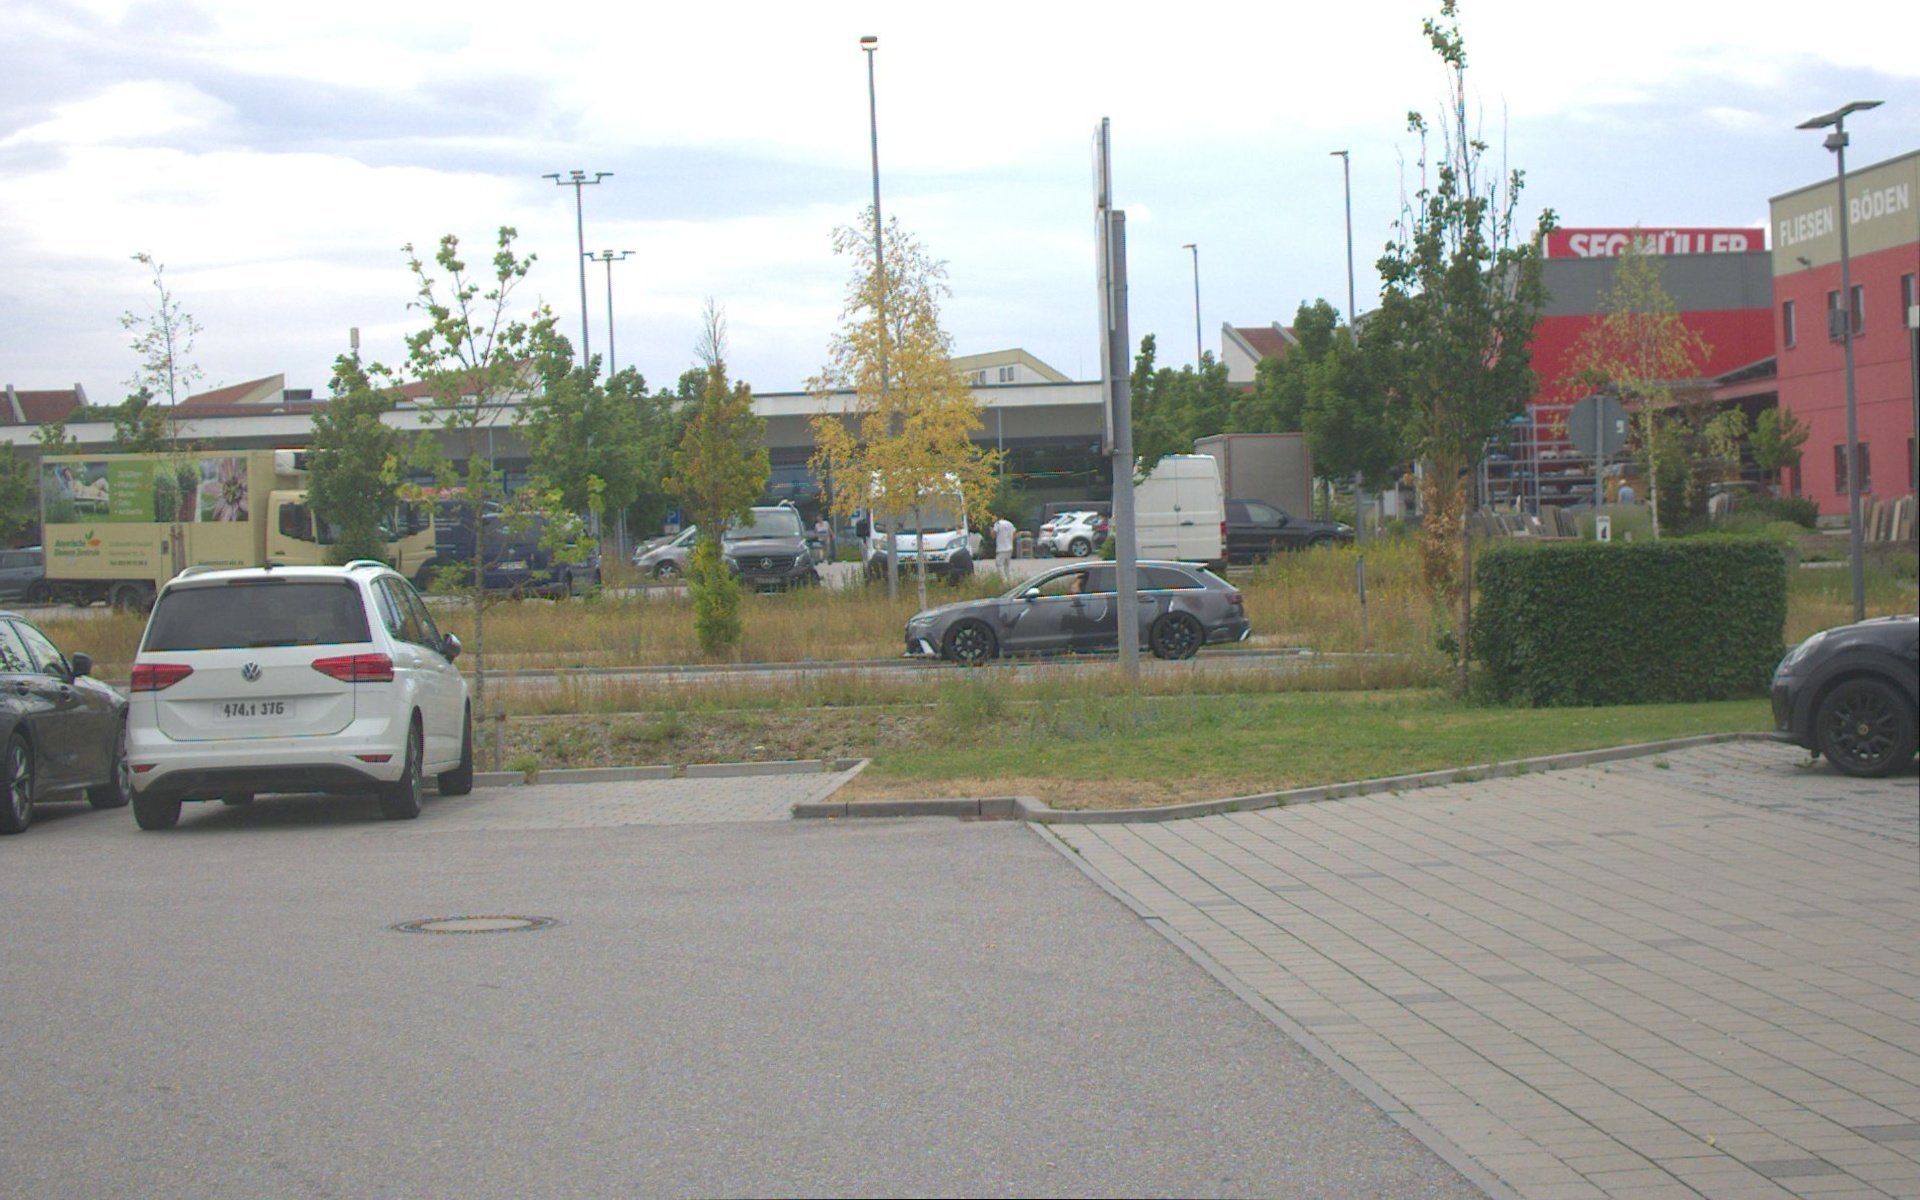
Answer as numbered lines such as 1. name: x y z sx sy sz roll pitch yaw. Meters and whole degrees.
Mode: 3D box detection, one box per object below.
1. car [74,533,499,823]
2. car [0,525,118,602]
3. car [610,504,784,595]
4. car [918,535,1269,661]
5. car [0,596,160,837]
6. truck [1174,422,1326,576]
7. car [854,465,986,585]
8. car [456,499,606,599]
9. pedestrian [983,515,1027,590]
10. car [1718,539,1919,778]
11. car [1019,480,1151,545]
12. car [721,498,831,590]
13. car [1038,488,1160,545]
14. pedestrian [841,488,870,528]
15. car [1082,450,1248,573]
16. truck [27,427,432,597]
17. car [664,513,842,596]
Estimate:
1. car: -4.384 0.498 23.053 1.986 1.707 4.372 -1 -1 0
2. car: -23.412 -0.898 85.730 4.306 1.765 2.000 -2 2 -2
3. car: -6.417 -1.255 83.720 3.986 2.006 2.001 -2 2 -9
4. car: 1.888 -0.042 48.888 4.839 1.546 1.802 -2 2 2
5. car: -6.823 0.755 22.897 1.941 1.461 4.516 -1 -1 0
6. truck: 7.478 -2.689 89.815 2.647 3.730 8.258 -2 3 -4
7. car: -0.856 -1.560 68.865 2.408 2.206 6.061 -1 3 -2
8. car: -8.584 -1.033 69.230 2.071 1.878 5.070 -1 1 3
9. pedestrian: 0.887 -0.953 68.203 0.785 1.424 0.978 -2 2 -1
10. car: 6.747 0.329 20.661 3.925 1.407 1.684 0 1 34
11. car: 3.879 -2.741 107.042 3.987 1.831 2.000 -2 2 0
12. car: -3.641 -1.152 68.413 2.071 1.633 5.071 -1 3 -2
13. car: 4.647 -2.829 115.607 3.987 1.730 1.934 -2 2 0
14. pedestrian: -3.893 -3.427 128.044 0.651 1.424 0.798 -4 3 -39
15. car: 4.027 -1.825 68.764 2.337 2.259 6.508 -2 3 -5
16. truck: -14.901 -1.751 69.790 8.421 3.185 3.024 0 3 35
17. car: -4.778 -1.066 79.518 3.986 1.732 1.891 -2 2 -3
